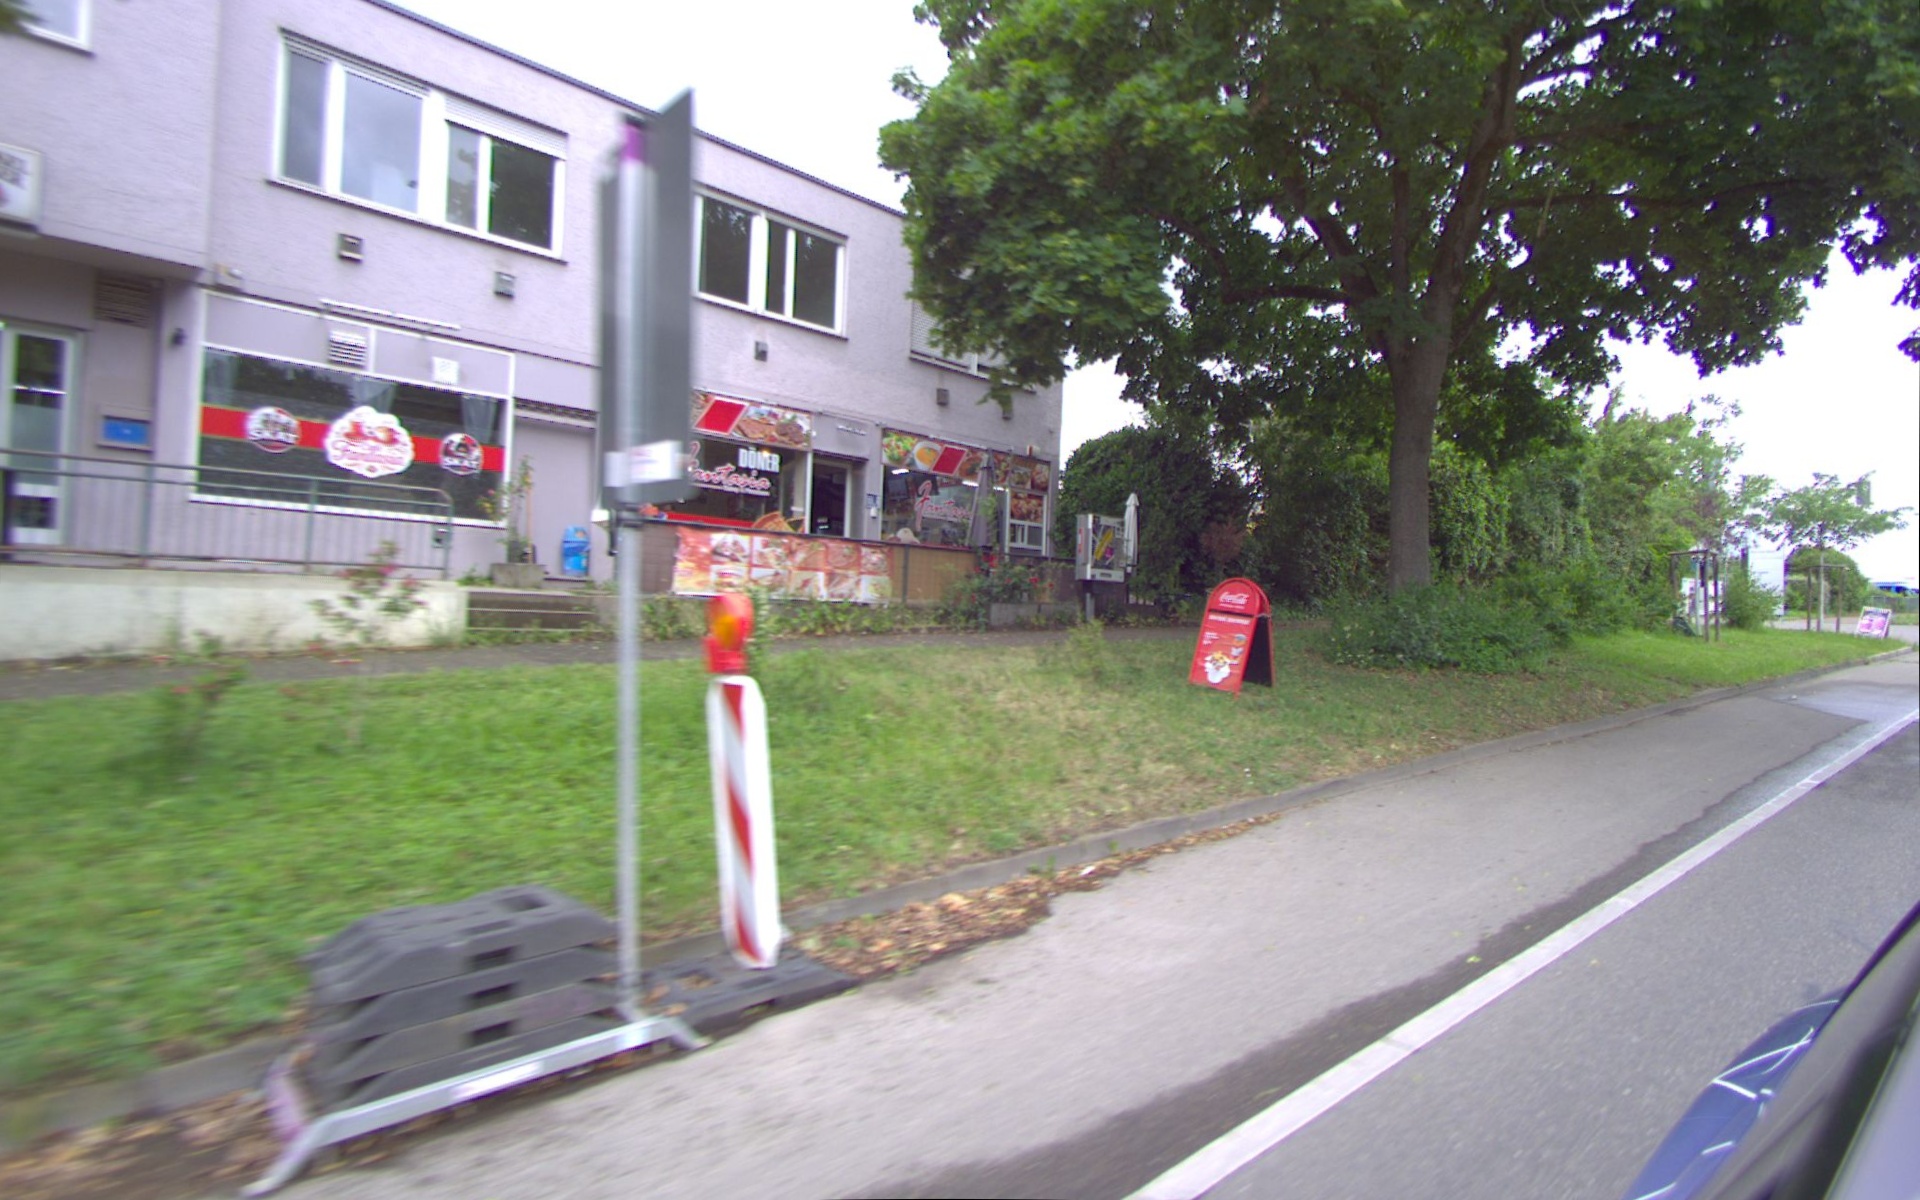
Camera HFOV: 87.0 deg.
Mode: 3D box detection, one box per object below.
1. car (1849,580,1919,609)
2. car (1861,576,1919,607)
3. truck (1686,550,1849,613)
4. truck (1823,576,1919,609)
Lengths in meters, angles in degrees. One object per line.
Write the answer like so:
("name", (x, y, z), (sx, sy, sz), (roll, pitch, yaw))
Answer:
("car", (66.173, -0.398, 70.732), (5.789, 1.981, 2.045), (0, 0, 35))
("car", (69.011, -0.628, 73.372), (5.221, 2.215, 2.048), (0, 0, 32))
("truck", (46.905, -1.104, 59.116), (7.134, 3.521, 2.588), (1, 1, 33))
("truck", (63.110, -0.496, 68.915), (6.198, 2.240, 2.224), (0, 0, 29))
